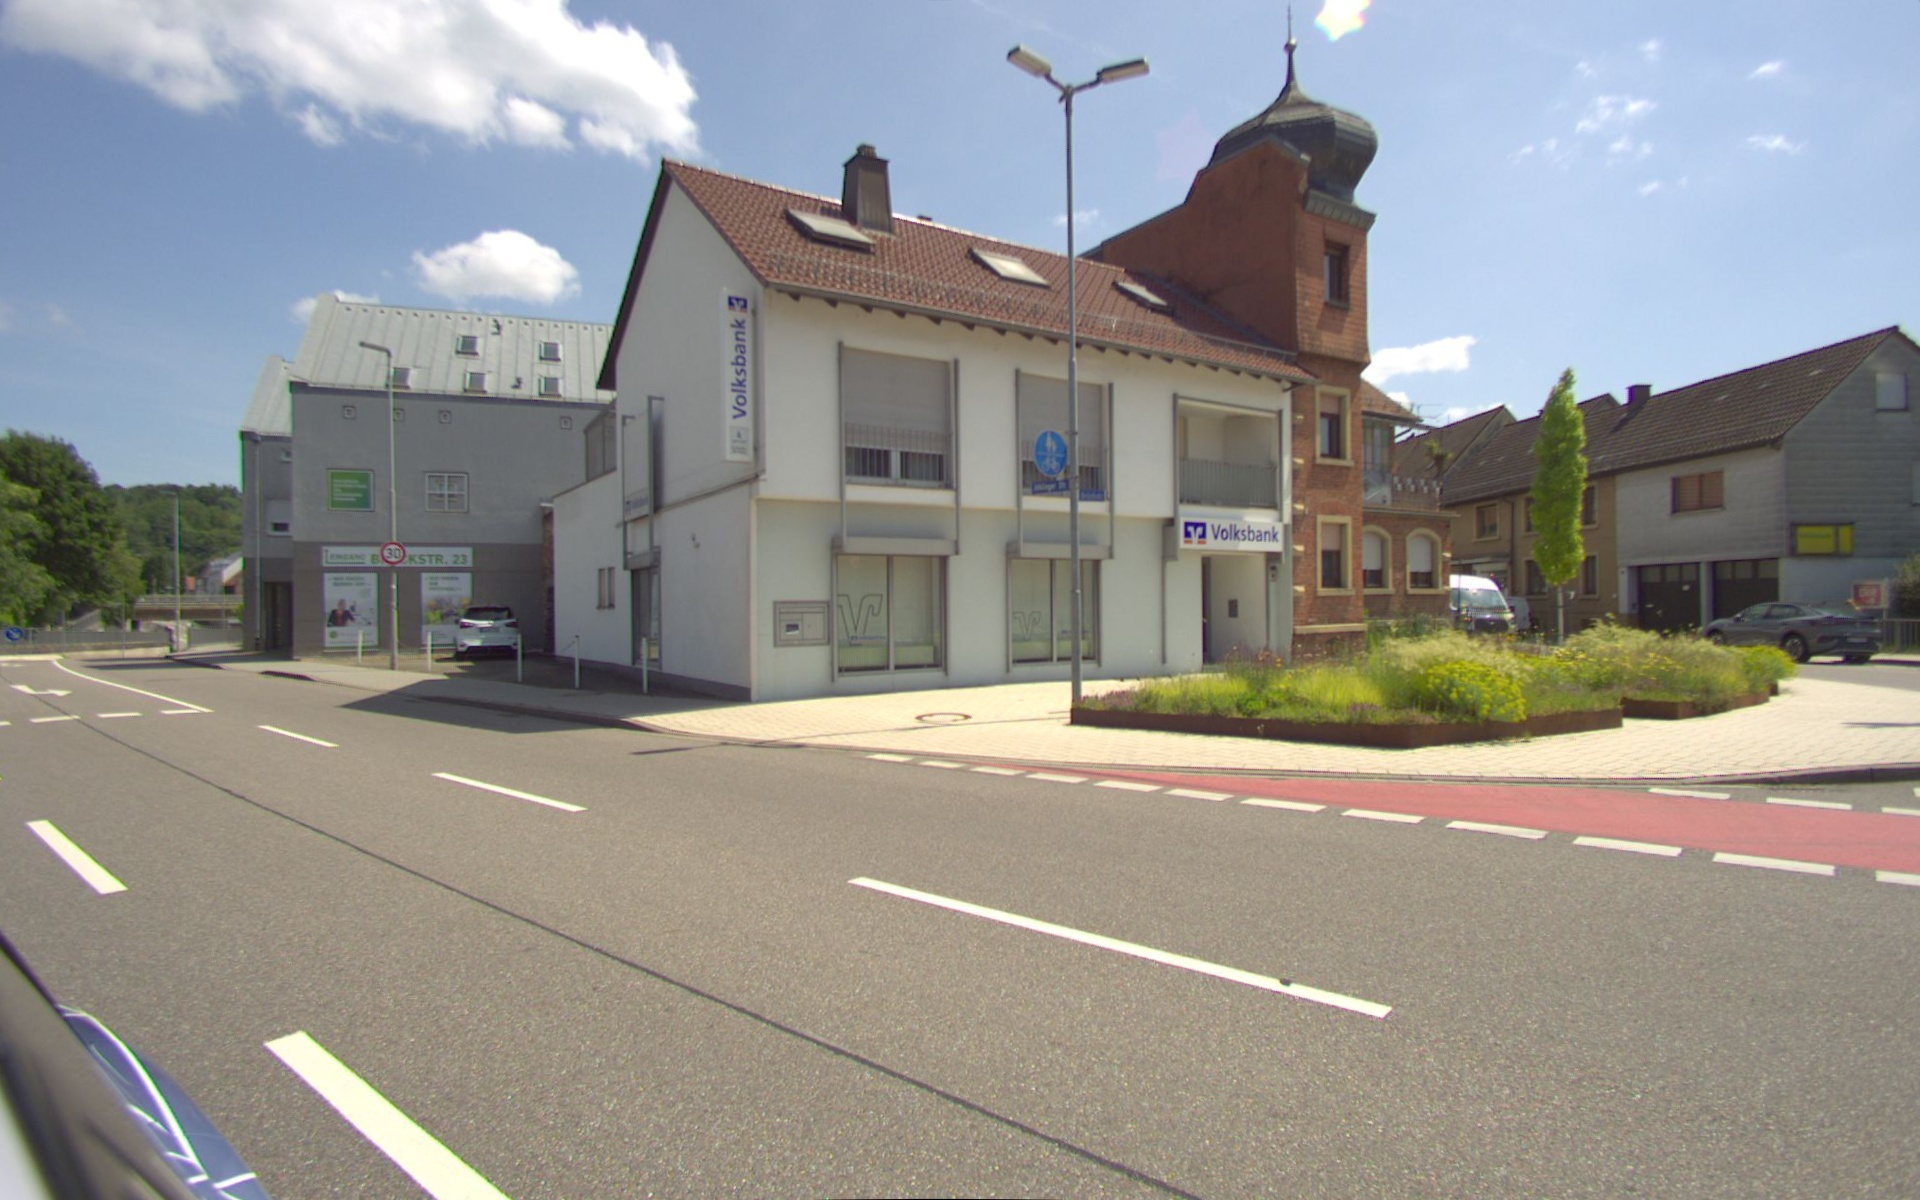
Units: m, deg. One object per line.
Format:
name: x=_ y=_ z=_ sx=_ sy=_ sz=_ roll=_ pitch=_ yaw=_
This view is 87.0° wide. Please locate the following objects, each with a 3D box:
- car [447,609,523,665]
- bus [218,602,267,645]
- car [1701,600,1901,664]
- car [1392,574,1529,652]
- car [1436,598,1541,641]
car: x=-14.537 y=1.094 z=30.896 sx=1.965 sy=1.587 sz=4.266 roll=0 pitch=-2 yaw=-26
bus: x=-73.382 y=2.497 z=103.669 sx=2.771 sy=4.032 sz=11.000 roll=-1 pitch=-2 yaw=-28
car: x=22.386 y=0.818 z=27.196 sx=1.762 sy=1.559 sz=4.235 roll=0 pitch=-1 yaw=-1
car: x=16.368 y=0.419 z=33.455 sx=2.144 sy=2.363 sz=5.107 roll=0 pitch=-1 yaw=3
car: x=22.508 y=0.812 z=43.314 sx=2.037 sy=1.741 sz=4.006 roll=0 pitch=-1 yaw=-7
